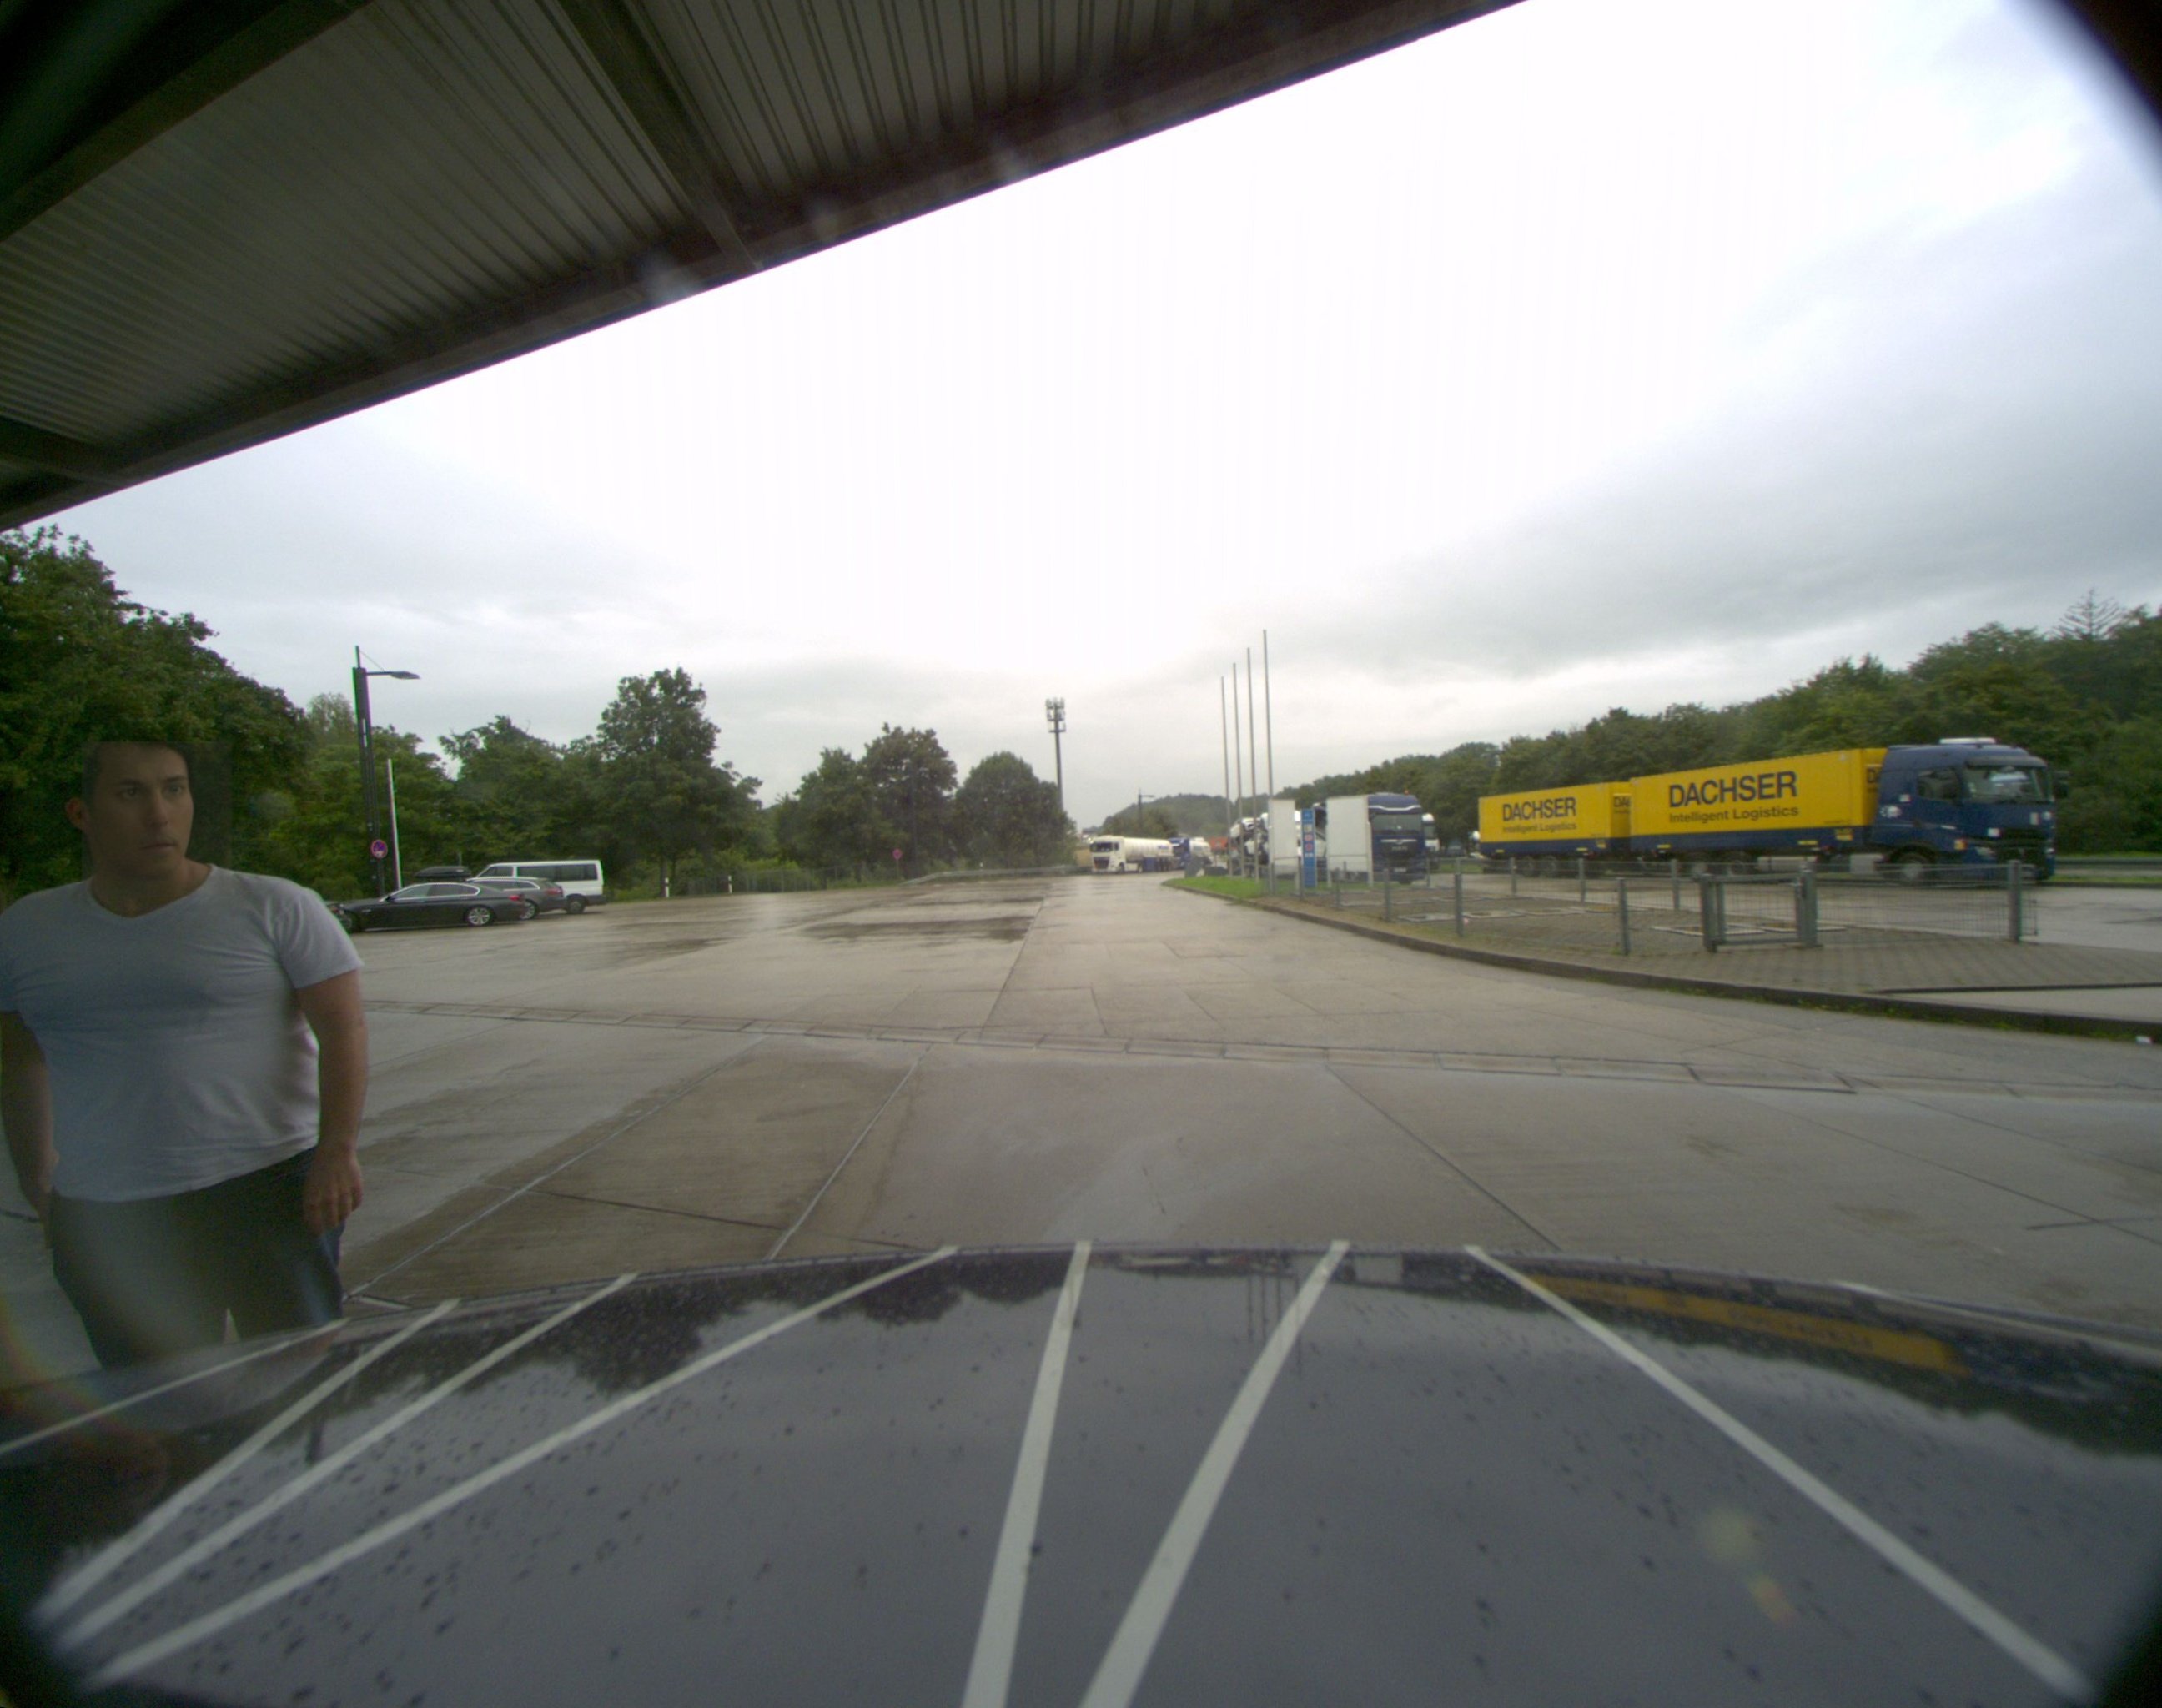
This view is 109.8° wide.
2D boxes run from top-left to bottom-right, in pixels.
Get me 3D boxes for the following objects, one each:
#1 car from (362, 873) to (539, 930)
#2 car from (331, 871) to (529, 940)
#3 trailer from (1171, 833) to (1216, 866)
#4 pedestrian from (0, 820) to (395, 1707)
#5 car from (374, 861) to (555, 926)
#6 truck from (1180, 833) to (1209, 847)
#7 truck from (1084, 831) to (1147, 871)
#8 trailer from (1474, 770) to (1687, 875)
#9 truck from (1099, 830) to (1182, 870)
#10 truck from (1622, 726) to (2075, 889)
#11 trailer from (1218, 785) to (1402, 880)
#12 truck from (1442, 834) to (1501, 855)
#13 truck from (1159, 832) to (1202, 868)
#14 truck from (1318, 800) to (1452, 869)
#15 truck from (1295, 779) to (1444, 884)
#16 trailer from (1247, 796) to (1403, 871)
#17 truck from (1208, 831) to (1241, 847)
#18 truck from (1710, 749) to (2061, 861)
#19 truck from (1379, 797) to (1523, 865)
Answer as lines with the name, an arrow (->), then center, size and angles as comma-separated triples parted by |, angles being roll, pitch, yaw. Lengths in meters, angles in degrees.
car -> -20.365, 1.478, 24.831 | 4.187, 1.547, 1.995 | -2, 0, -33
car -> -19.131, 1.451, 22.641 | 4.187, 1.720, 1.995 | -2, 0, -33
trailer -> 13.659, -0.645, 91.441 | 2.898, 3.618, 10.586 | -2, 1, 22
pedestrian -> -1.911, 0.848, 1.520 | 0.635, 1.800, 0.493 | -4, 3, -34
car -> -21.621, 1.328, 26.944 | 4.780, 1.974, 2.010 | -2, 0, -36
truck -> 30.274, -3.671, 204.033 | 3.251, 3.543, 16.548 | -2, 1, -7
truck -> 3.307, -0.350, 71.438 | 3.243, 3.544, 6.114 | -2, 1, 31
trailer -> 21.775, -1.271, 33.991 | 2.774, 4.009, 8.853 | -2, 1, -8
truck -> 6.191, -0.517, 76.349 | 3.243, 3.544, 11.995 | -2, 1, 31
truck -> 23.052, -1.211, 24.308 | 2.774, 4.009, 10.632 | -2, 1, -8
trailer -> 11.365, -0.995, 40.939 | 2.990, 4.009, 16.597 | -2, 1, -7
truck -> 45.905, -1.039, 89.573 | 3.135, 2.290, 6.172 | -2, 0, -7
truck -> 11.319, -0.518, 85.734 | 3.045, 3.745, 6.475 | -2, 1, 23
truck -> 19.750, -1.215, 50.432 | 2.991, 4.009, 10.464 | -2, 1, -10
truck -> 12.294, -0.919, 33.247 | 2.990, 4.009, 7.259 | -2, 1, -7
trailer -> 14.997, -1.177, 48.728 | 2.992, 4.009, 13.793 | -2, 1, -12
truck -> 33.446, -3.445, 177.565 | 3.251, 3.543, 14.656 | -1, 1, -7
truck -> 33.765, -1.816, 32.932 | 2.991, 4.009, 10.464 | -2, 1, -10
truck -> 24.352, -1.398, 50.956 | 2.991, 4.009, 10.464 | -2, 1, -10
